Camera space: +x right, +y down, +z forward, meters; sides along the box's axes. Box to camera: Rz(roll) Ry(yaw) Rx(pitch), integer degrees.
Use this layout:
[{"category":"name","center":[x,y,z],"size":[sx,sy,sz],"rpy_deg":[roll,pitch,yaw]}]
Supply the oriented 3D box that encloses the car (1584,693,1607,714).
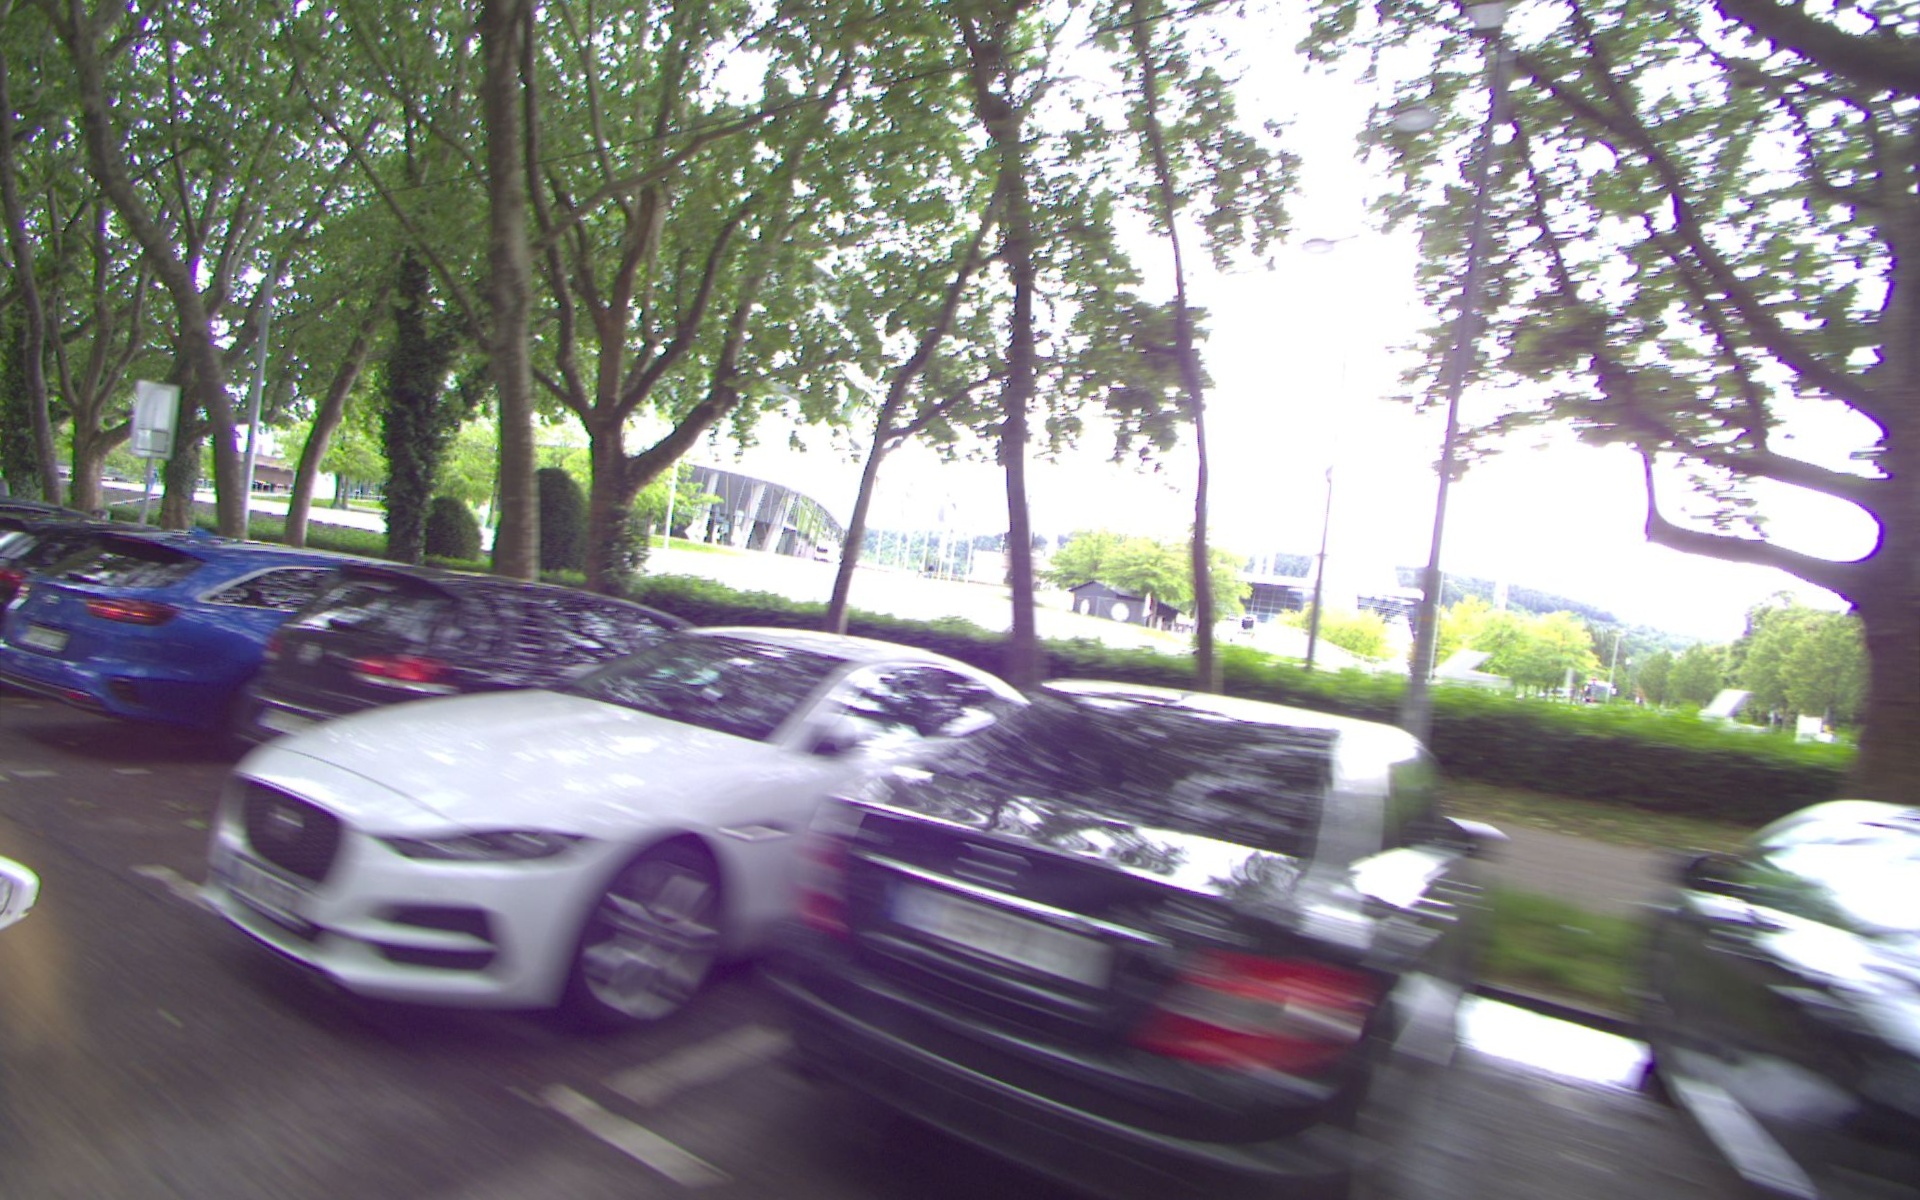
[{"category":"car","center":[73.378,11.950,116.143],"size":[1.968,2.037,3.993],"rpy_deg":[6,-2,33]}]

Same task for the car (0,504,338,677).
[{"category":"car","center":[-9.254,-0.136,10.550],"size":[1.754,1.472,4.209],"rpy_deg":[8,-2,28]}]

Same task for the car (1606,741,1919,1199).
[{"category":"car","center":[3.349,1.348,2.865],"size":[1.877,1.433,4.031],"rpy_deg":[8,-2,26]}]

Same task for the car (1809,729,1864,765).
[{"category":"car","center":[59.516,9.973,68.385],"size":[1.967,2.037,3.995],"rpy_deg":[6,-2,32]}]

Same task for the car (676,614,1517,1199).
[{"category":"car","center":[1.028,1.044,3.897],"size":[1.690,1.433,3.838],"rpy_deg":[8,-2,32]}]

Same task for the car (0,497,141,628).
[{"category":"car","center":[-13.441,-0.717,12.814],"size":[1.755,1.535,4.208],"rpy_deg":[7,-4,31]}]

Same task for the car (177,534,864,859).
[{"category":"car","center":[-2.661,0.664,7.075],"size":[1.754,1.463,4.025],"rpy_deg":[8,-2,32]}]

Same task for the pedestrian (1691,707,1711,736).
[{"category":"pedestrian","center":[44.759,7.344,60.739],"size":[0.686,1.663,0.725],"rpy_deg":[7,-1,24]}]

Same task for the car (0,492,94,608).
[{"category":"car","center":[-15.600,-1.029,14.302],"size":[2.015,1.589,4.503],"rpy_deg":[8,-2,34]}]

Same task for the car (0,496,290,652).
[{"category":"car","center":[-10.944,-0.372,12.225],"size":[1.754,1.535,4.209],"rpy_deg":[8,-2,28]}]

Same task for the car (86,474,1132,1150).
[{"category":"car","center":[-1.022,0.709,5.021],"size":[2.020,1.641,4.534],"rpy_deg":[8,-2,32]}]

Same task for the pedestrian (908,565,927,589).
[{"category":"pedestrian","center":[-4.007,-2.147,94.548],"size":[1.094,2.037,1.159],"rpy_deg":[6,-1,42]}]

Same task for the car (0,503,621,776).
[{"category":"car","center":[-4.949,0.369,7.973],"size":[1.880,1.463,4.030],"rpy_deg":[8,-2,26]}]

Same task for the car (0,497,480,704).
[{"category":"car","center":[-7.087,0.080,9.570],"size":[1.754,1.472,4.209],"rpy_deg":[8,-2,28]}]

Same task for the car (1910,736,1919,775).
[{"category":"car","center":[51.048,8.220,51.942],"size":[1.967,2.037,3.995],"rpy_deg":[6,-2,32]}]

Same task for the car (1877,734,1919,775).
[{"category":"car","center":[53.886,8.791,57.007],"size":[1.967,2.037,3.995],"rpy_deg":[6,-2,32]}]
